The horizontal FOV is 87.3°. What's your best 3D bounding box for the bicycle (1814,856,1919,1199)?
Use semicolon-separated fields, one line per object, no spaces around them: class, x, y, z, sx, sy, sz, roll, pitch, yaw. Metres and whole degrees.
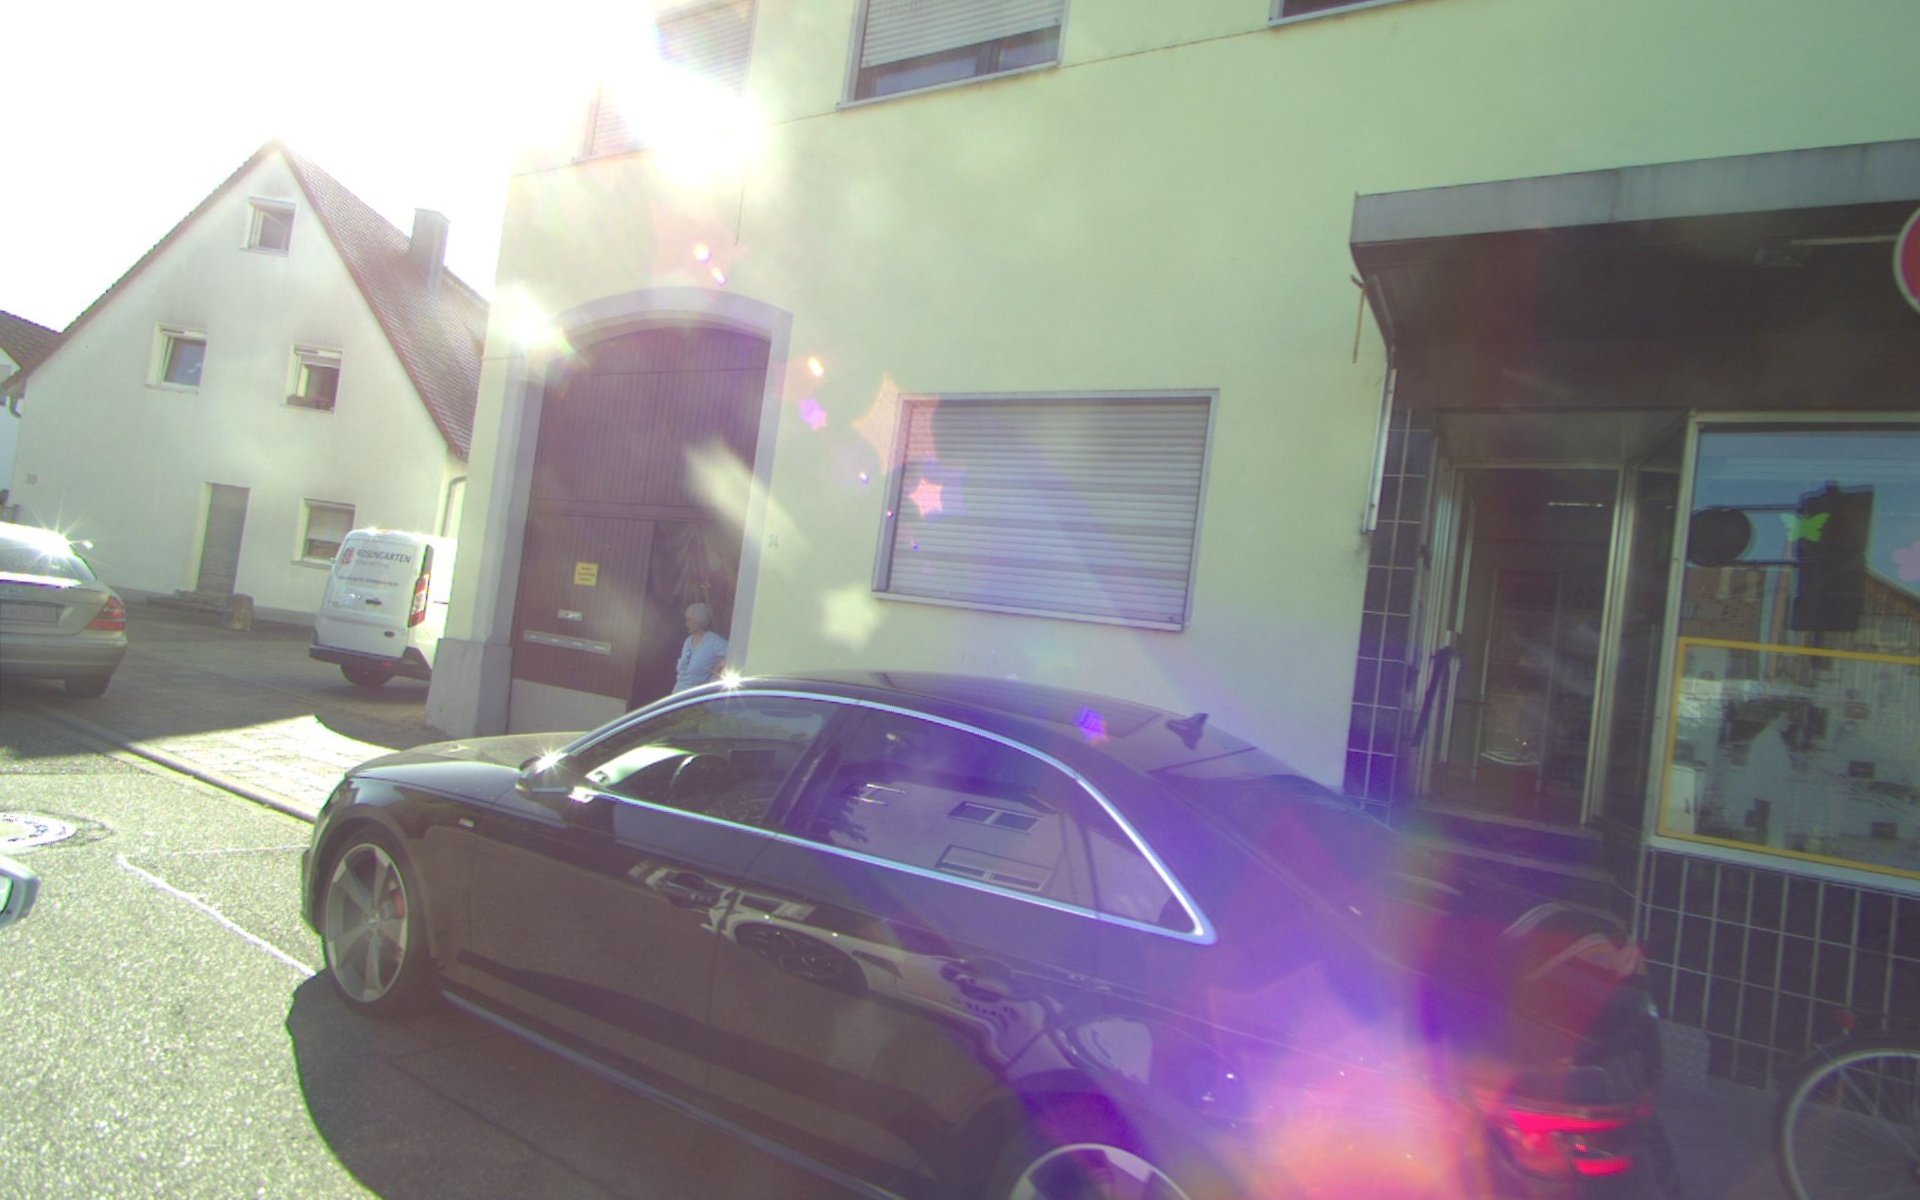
bicycle;3.243;1.435;2.560;1.482;1.171;0.508;6;-1;32

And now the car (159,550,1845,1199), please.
car;-0.436;0.901;3.406;4.762;1.490;1.814;6;-4;30

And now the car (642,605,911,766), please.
car;-2.125;1.073;12.838;1.424;1.554;3.942;7;-2;20

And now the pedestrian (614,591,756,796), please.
pedestrian;-2.305;0.778;8.453;0.757;1.568;0.566;7;-3;26

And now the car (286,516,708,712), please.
car;-5.631;0.284;13.050;1.874;1.909;4.777;7;-1;24

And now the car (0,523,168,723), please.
car;-9.207;-0.017;9.103;4.586;1.491;1.815;6;-4;35

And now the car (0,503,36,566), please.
car;-28.509;-2.085;27.816;1.876;1.707;4.053;8;-2;3
